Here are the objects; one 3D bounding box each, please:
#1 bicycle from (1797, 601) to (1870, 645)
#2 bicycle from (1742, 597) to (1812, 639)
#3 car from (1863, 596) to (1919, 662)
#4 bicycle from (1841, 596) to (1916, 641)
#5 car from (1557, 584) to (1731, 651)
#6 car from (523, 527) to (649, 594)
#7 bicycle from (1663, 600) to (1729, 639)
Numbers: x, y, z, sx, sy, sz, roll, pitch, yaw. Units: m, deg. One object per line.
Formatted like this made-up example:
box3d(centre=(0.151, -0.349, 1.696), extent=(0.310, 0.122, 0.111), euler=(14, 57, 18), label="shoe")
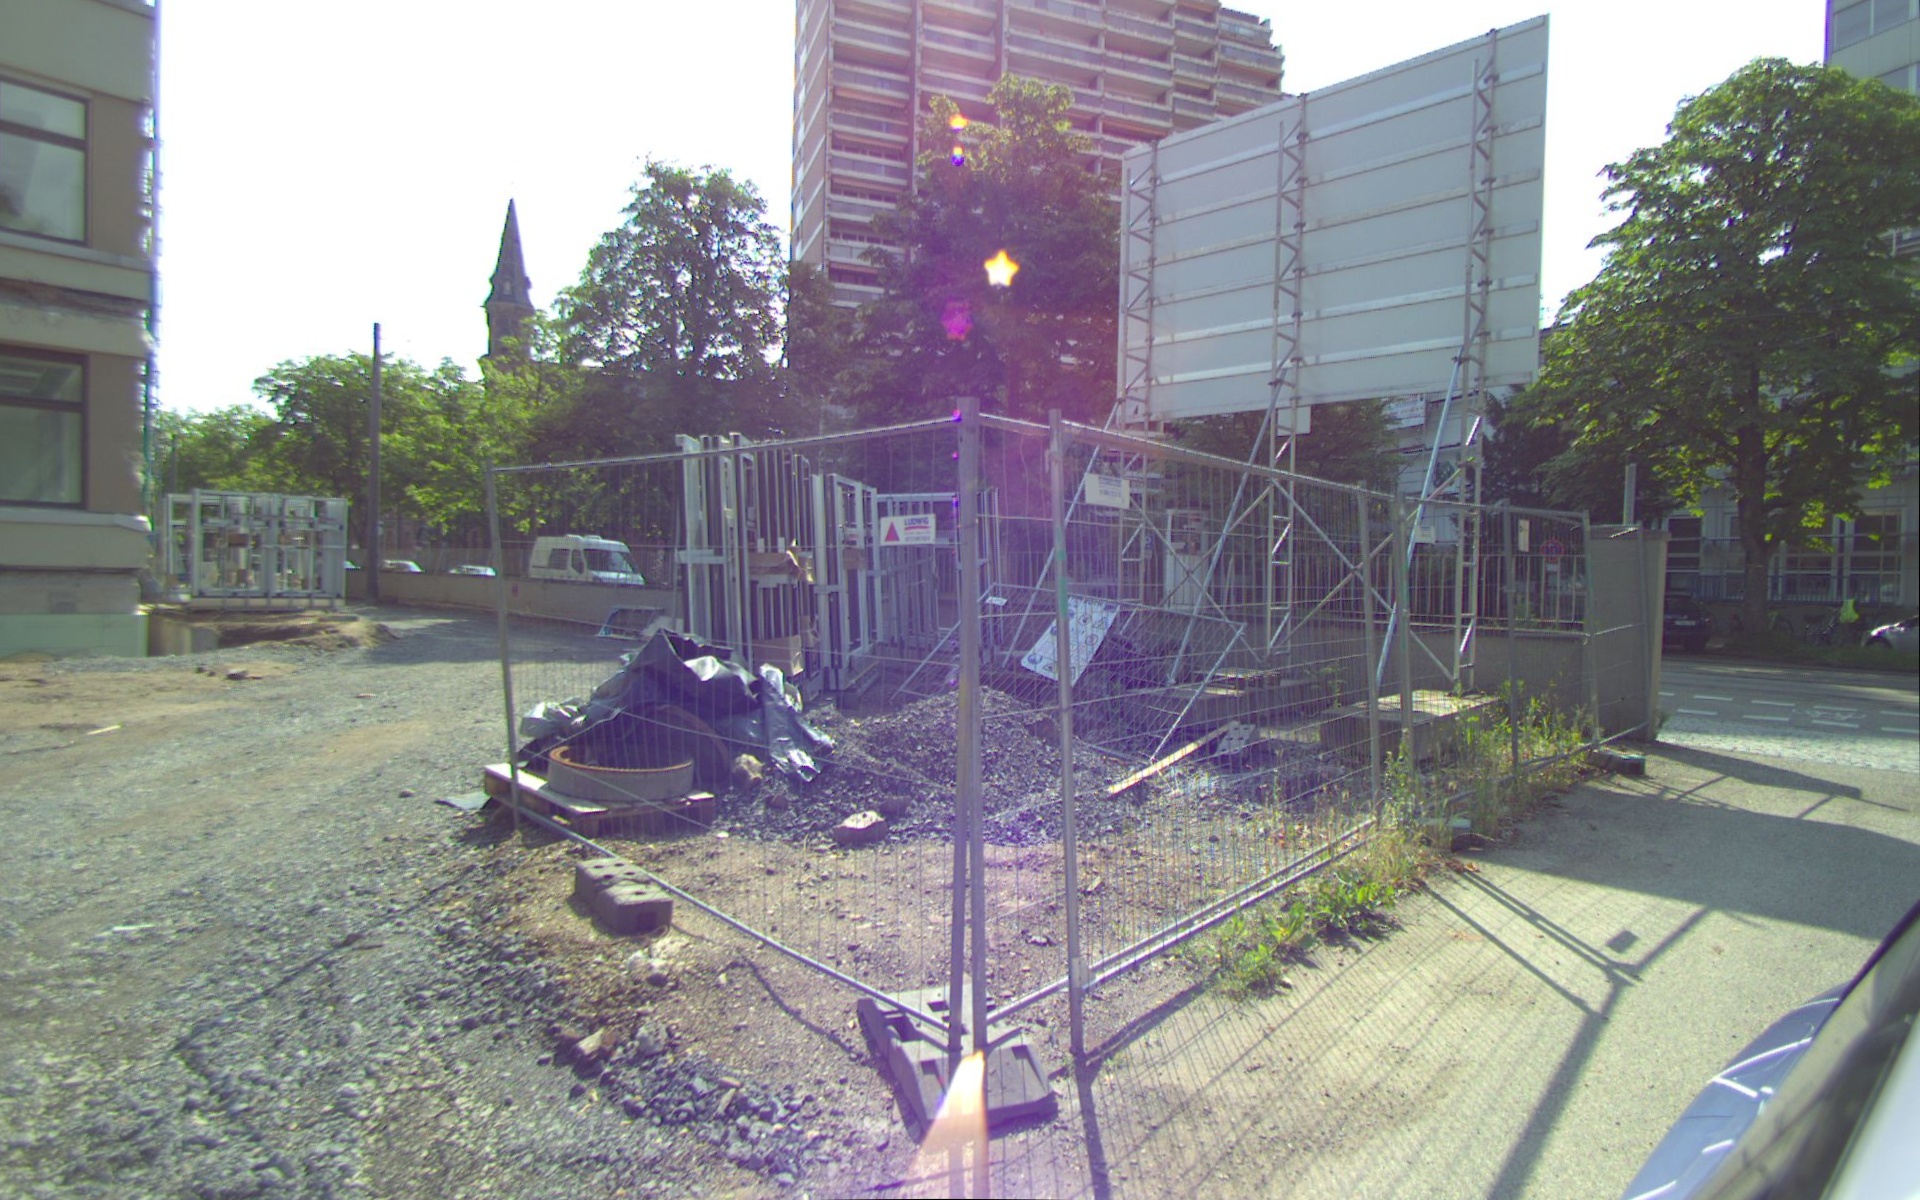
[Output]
box3d(centre=(24.812, 0.664, 28.742), extent=(2.013, 1.101, 0.498), euler=(-4, -2, -17), label="bicycle")
box3d(centre=(24.404, 0.527, 30.235), extent=(2.013, 1.101, 0.498), euler=(-4, -2, -17), label="bicycle")
box3d(centre=(22.379, 0.659, 21.899), extent=(1.748, 1.483, 4.237), euler=(2, -2, -3), label="car")
box3d(centre=(25.399, 0.510, 27.986), extent=(2.013, 1.101, 0.498), euler=(-4, -2, -17), label="bicycle")
box3d(centre=(17.555, 0.461, 26.229), extent=(1.727, 1.481, 3.997), euler=(-4, -1, 1), label="car")
box3d(centre=(-12.498, -1.216, 33.605), extent=(1.967, 2.039, 5.294), euler=(0, 0, -44), label="car")
box3d(centre=(23.469, 0.609, 32.255), extent=(2.013, 1.101, 0.498), euler=(-4, -2, -17), label="bicycle")
